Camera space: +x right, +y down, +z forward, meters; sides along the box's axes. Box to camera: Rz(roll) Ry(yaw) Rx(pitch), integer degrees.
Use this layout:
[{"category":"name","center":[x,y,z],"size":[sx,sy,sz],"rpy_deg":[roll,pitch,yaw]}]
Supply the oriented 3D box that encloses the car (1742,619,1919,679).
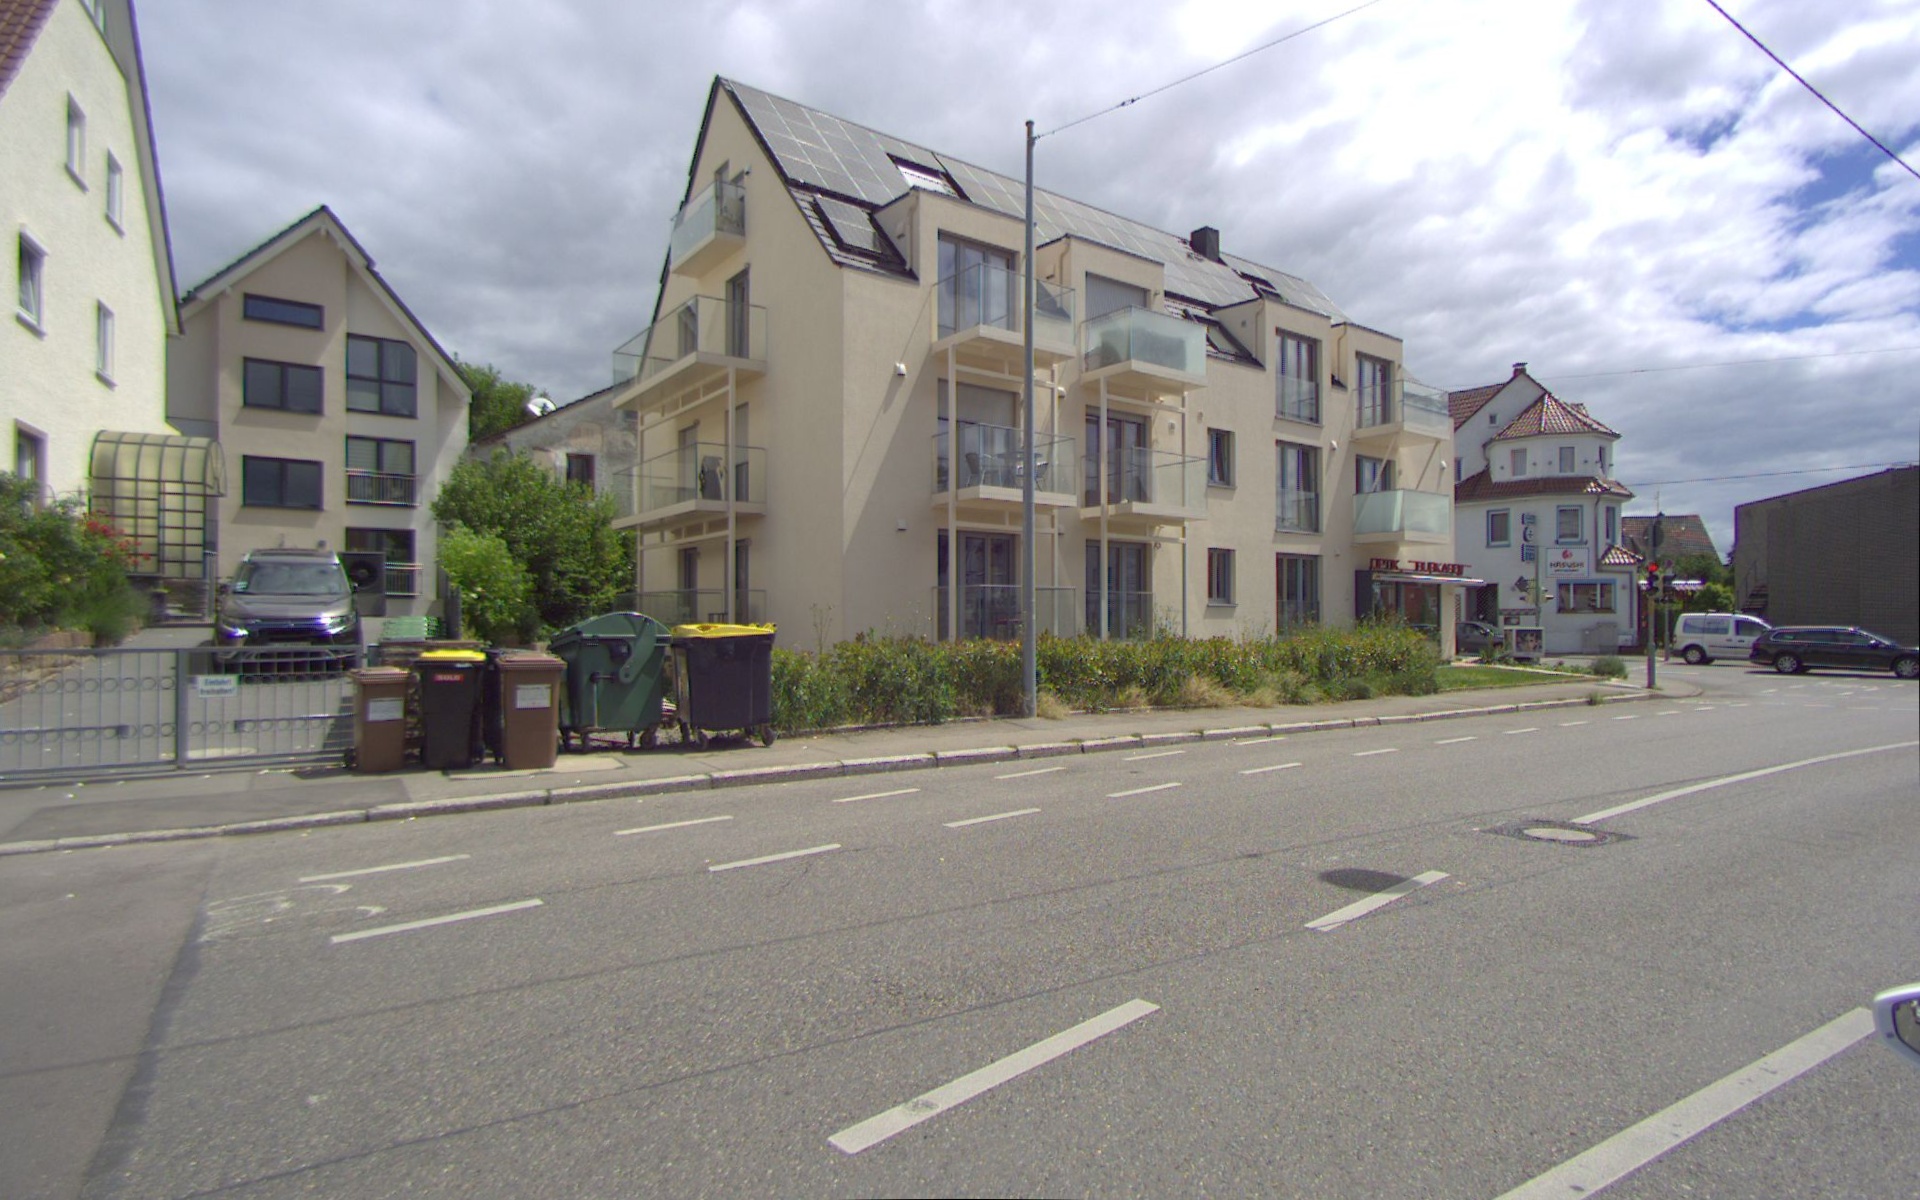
[{"category":"car","center":[27.152,1.454,30.646],"size":[1.982,1.598,4.859],"rpy_deg":[1,0,-38]}]

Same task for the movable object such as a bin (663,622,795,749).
[{"category":"movable object such as a bin","center":[-2.597,0.912,11.267],"size":[1.199,1.330,1.061],"rpy_deg":[1,-1,-29]}]

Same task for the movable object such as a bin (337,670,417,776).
[{"category":"movable object such as a bin","center":[-5.334,1.107,9.209],"size":[0.607,0.891,0.593],"rpy_deg":[1,-1,-30]}]

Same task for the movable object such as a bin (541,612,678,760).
[{"category":"movable object such as a bin","center":[-3.826,0.888,10.935],"size":[1.201,1.501,1.059],"rpy_deg":[1,-1,-32]}]

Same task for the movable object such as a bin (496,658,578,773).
[{"category":"movable object such as a bin","center":[-4.034,1.077,9.573],"size":[0.651,1.020,0.593],"rpy_deg":[1,-1,-30]}]

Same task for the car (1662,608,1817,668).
[{"category":"car","center":[27.425,1.289,35.428],"size":[1.985,1.873,4.023],"rpy_deg":[1,0,-41]}]

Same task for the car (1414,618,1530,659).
[{"category":"car","center":[21.722,1.595,42.660],"size":[1.987,1.506,3.947],"rpy_deg":[1,0,-44]}]

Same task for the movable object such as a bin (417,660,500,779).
[{"category":"movable object such as a bin","center":[-4.706,1.093,9.415],"size":[0.651,1.037,0.593],"rpy_deg":[1,-1,-30]}]

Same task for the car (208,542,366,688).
[{"category":"car","center":[-10.295,0.124,15.615],"size":[1.783,1.729,3.966],"rpy_deg":[1,6,-31]}]
